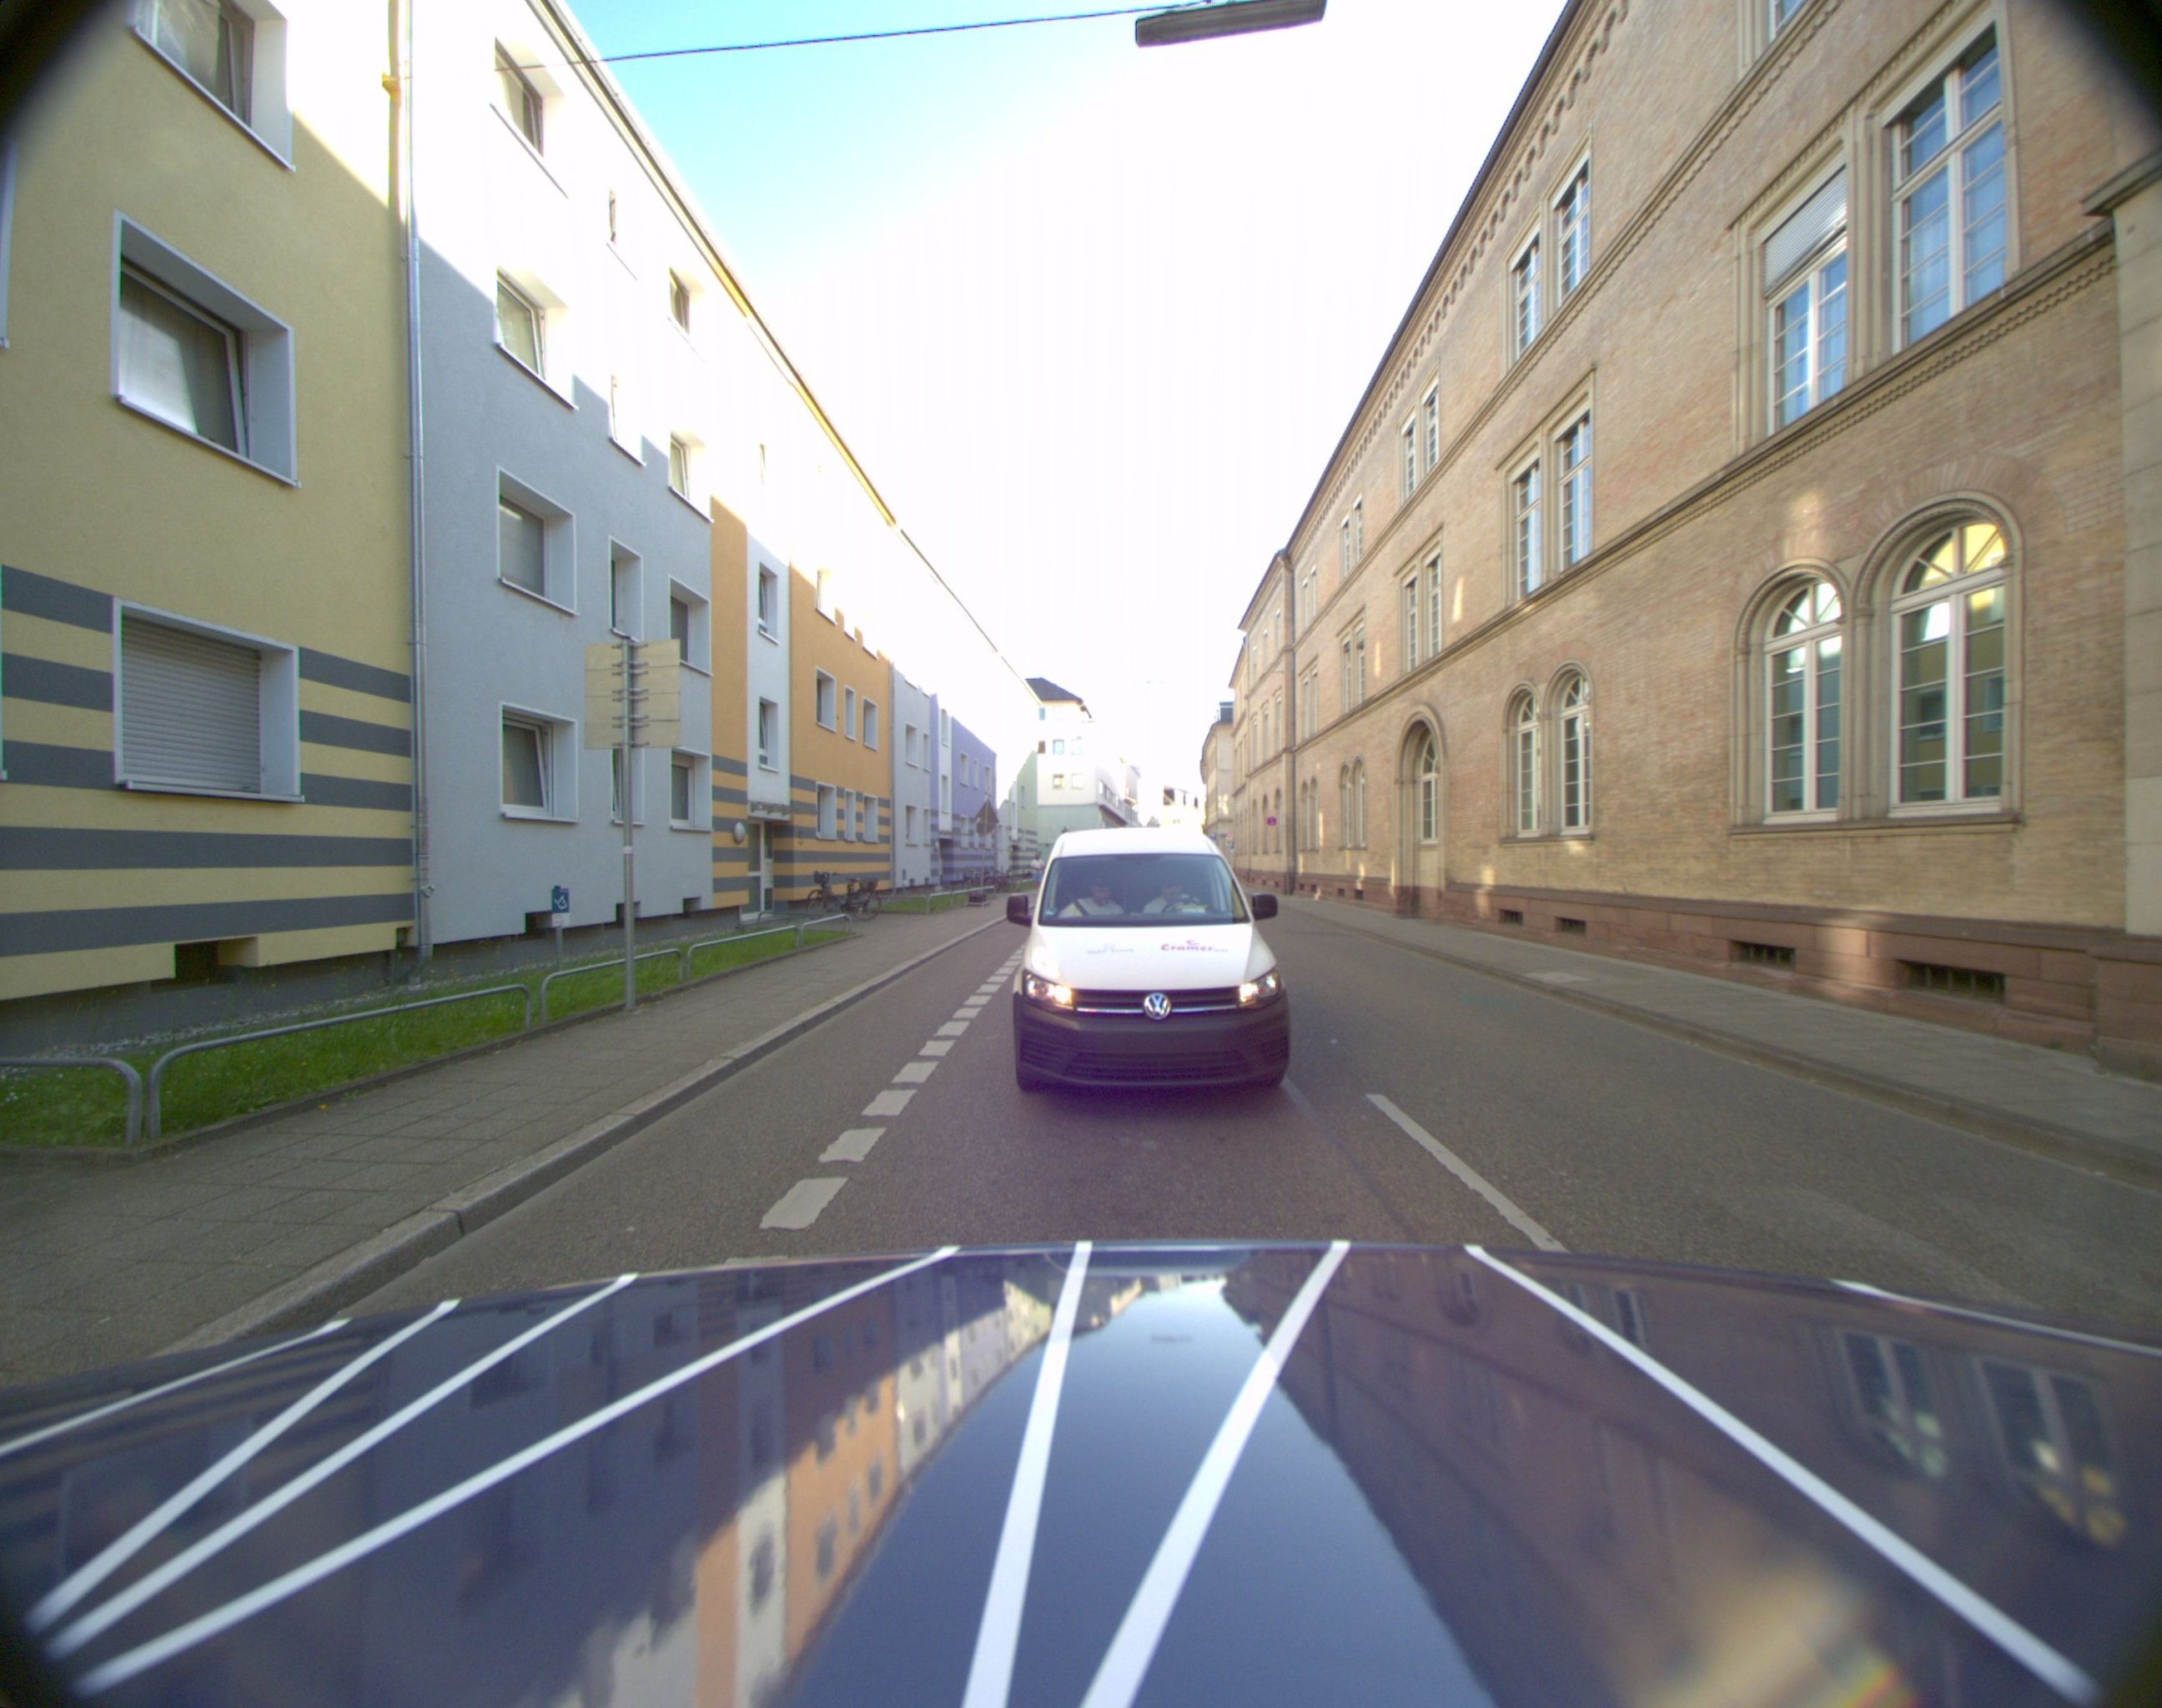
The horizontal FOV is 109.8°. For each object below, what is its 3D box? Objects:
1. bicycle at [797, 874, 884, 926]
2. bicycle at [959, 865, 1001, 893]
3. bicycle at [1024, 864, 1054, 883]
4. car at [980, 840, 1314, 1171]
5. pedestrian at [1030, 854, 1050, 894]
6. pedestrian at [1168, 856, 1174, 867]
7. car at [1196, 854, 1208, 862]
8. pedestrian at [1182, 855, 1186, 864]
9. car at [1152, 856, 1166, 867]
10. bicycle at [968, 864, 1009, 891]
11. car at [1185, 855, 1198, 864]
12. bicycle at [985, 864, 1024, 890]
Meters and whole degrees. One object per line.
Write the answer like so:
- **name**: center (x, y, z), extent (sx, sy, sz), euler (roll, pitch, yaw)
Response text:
- **bicycle**: center (-5.389, 1.022, 17.082), extent (1.780, 1.116, 0.484), euler (0, 0, -5)
- **bicycle**: center (-4.240, 1.055, 31.819), extent (1.676, 1.145, 0.484), euler (0, 0, 4)
- **bicycle**: center (-2.521, 1.161, 46.029), extent (1.779, 1.145, 0.484), euler (0, 0, 0)
- **car**: center (0.391, 0.786, 6.729), extent (1.769, 1.761, 5.331), euler (-1, 1, 1)
- **pedestrian**: center (-1.755, 0.839, 32.520), extent (0.705, 1.627, 0.833), euler (2, 2, 5)
- **pedestrian**: center (14.190, 1.227, 119.881), extent (0.705, 1.627, 0.833), euler (3, 2, 12)
- **car**: center (26.084, 0.807, 163.732), extent (1.996, 1.643, 4.233), euler (-2, 1, 17)
- **pedestrian**: center (18.467, 0.953, 136.298), extent (0.704, 1.627, 0.833), euler (3, 2, 14)
- **car**: center (12.640, 1.200, 122.678), extent (1.997, 1.643, 4.231), euler (-2, 1, 9)
- **bicycle**: center (-4.036, 1.028, 33.113), extent (1.676, 1.145, 0.484), euler (0, 0, 4)
- **car**: center (22.101, 1.092, 152.001), extent (1.996, 1.643, 4.233), euler (-2, 1, 17)
- **bicycle**: center (-3.377, 1.011, 33.658), extent (1.676, 1.145, 0.484), euler (0, 0, 4)
